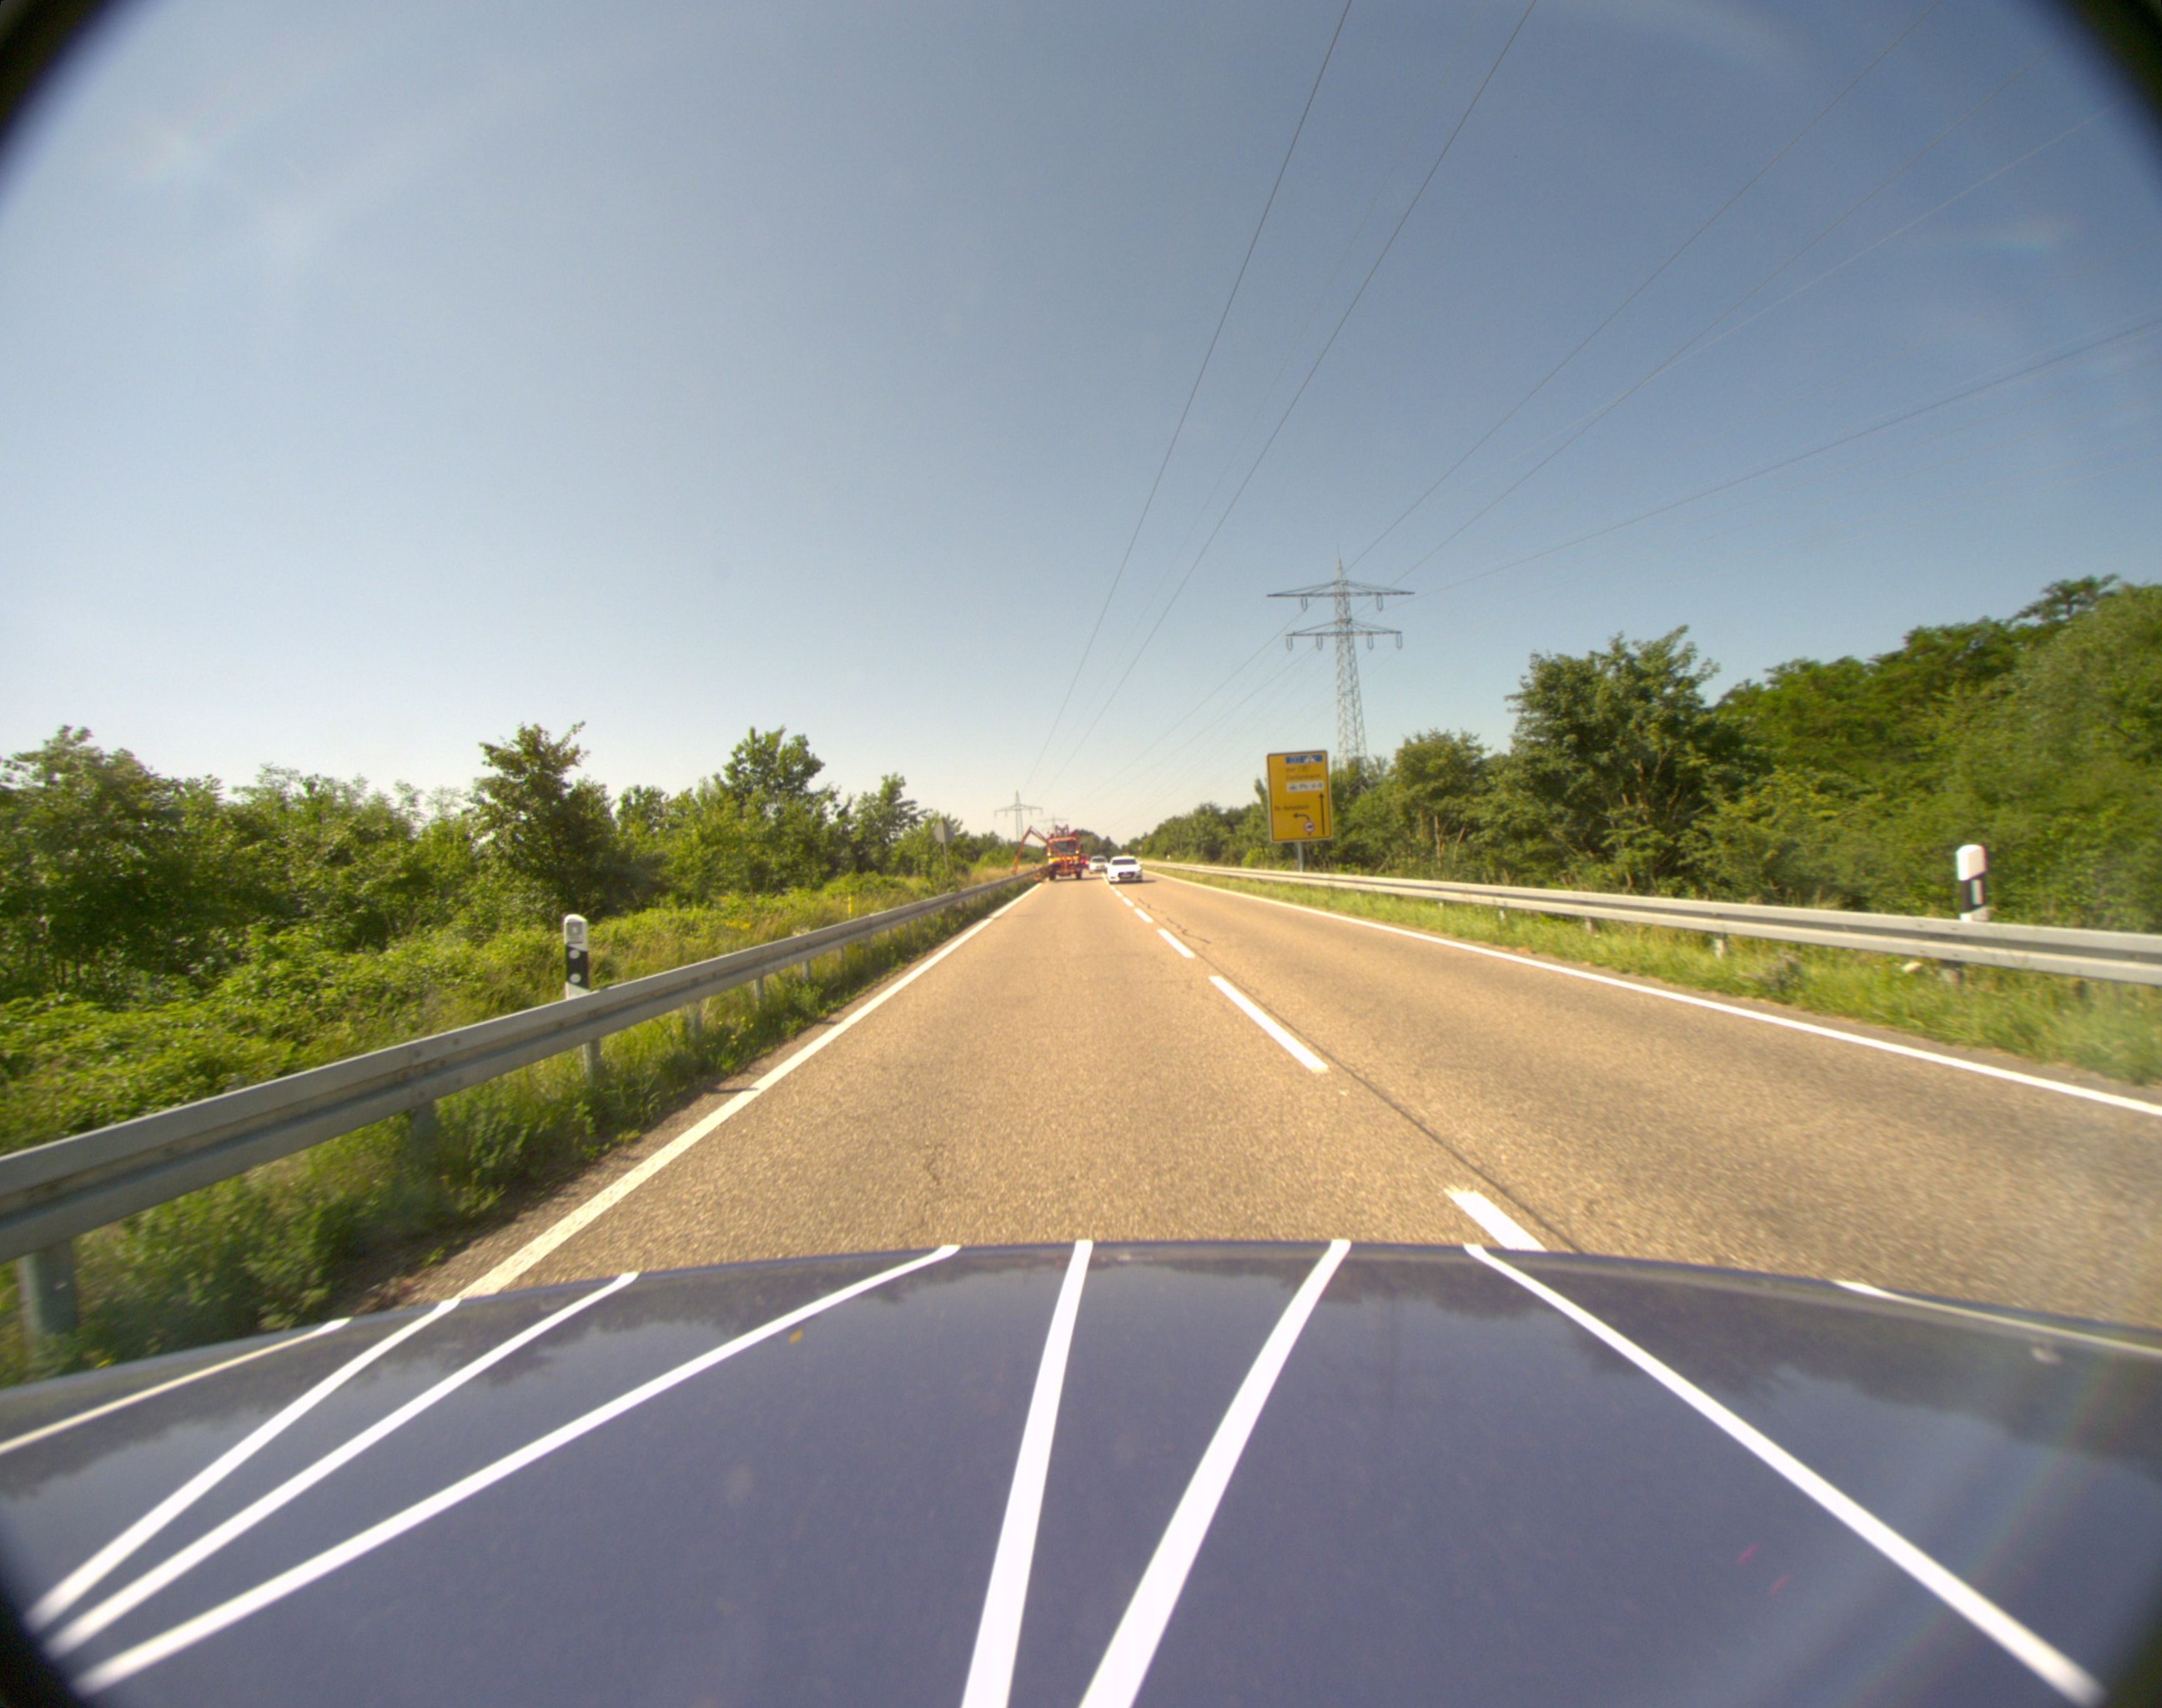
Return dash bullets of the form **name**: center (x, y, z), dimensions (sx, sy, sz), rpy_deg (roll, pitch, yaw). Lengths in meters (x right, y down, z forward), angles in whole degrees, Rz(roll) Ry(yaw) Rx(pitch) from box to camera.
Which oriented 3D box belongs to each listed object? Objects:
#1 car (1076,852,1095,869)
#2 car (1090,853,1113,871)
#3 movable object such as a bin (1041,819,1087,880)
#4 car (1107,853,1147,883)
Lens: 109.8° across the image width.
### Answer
- **car**: center (0.486, 0.803, 95.170), dimensions (2.126, 1.934, 5.018), rpy_deg (-3, 0, -1)
- **car**: center (1.843, 0.740, 69.683), dimensions (1.923, 1.540, 4.793), rpy_deg (-3, 0, 0)
- **movable object such as a bin**: center (-1.115, -0.277, 53.659), dimensions (2.760, 3.817, 9.444), rpy_deg (-3, 0, 0)
- **car**: center (2.514, 0.763, 42.610), dimensions (1.923, 1.496, 4.793), rpy_deg (-3, 0, 0)
